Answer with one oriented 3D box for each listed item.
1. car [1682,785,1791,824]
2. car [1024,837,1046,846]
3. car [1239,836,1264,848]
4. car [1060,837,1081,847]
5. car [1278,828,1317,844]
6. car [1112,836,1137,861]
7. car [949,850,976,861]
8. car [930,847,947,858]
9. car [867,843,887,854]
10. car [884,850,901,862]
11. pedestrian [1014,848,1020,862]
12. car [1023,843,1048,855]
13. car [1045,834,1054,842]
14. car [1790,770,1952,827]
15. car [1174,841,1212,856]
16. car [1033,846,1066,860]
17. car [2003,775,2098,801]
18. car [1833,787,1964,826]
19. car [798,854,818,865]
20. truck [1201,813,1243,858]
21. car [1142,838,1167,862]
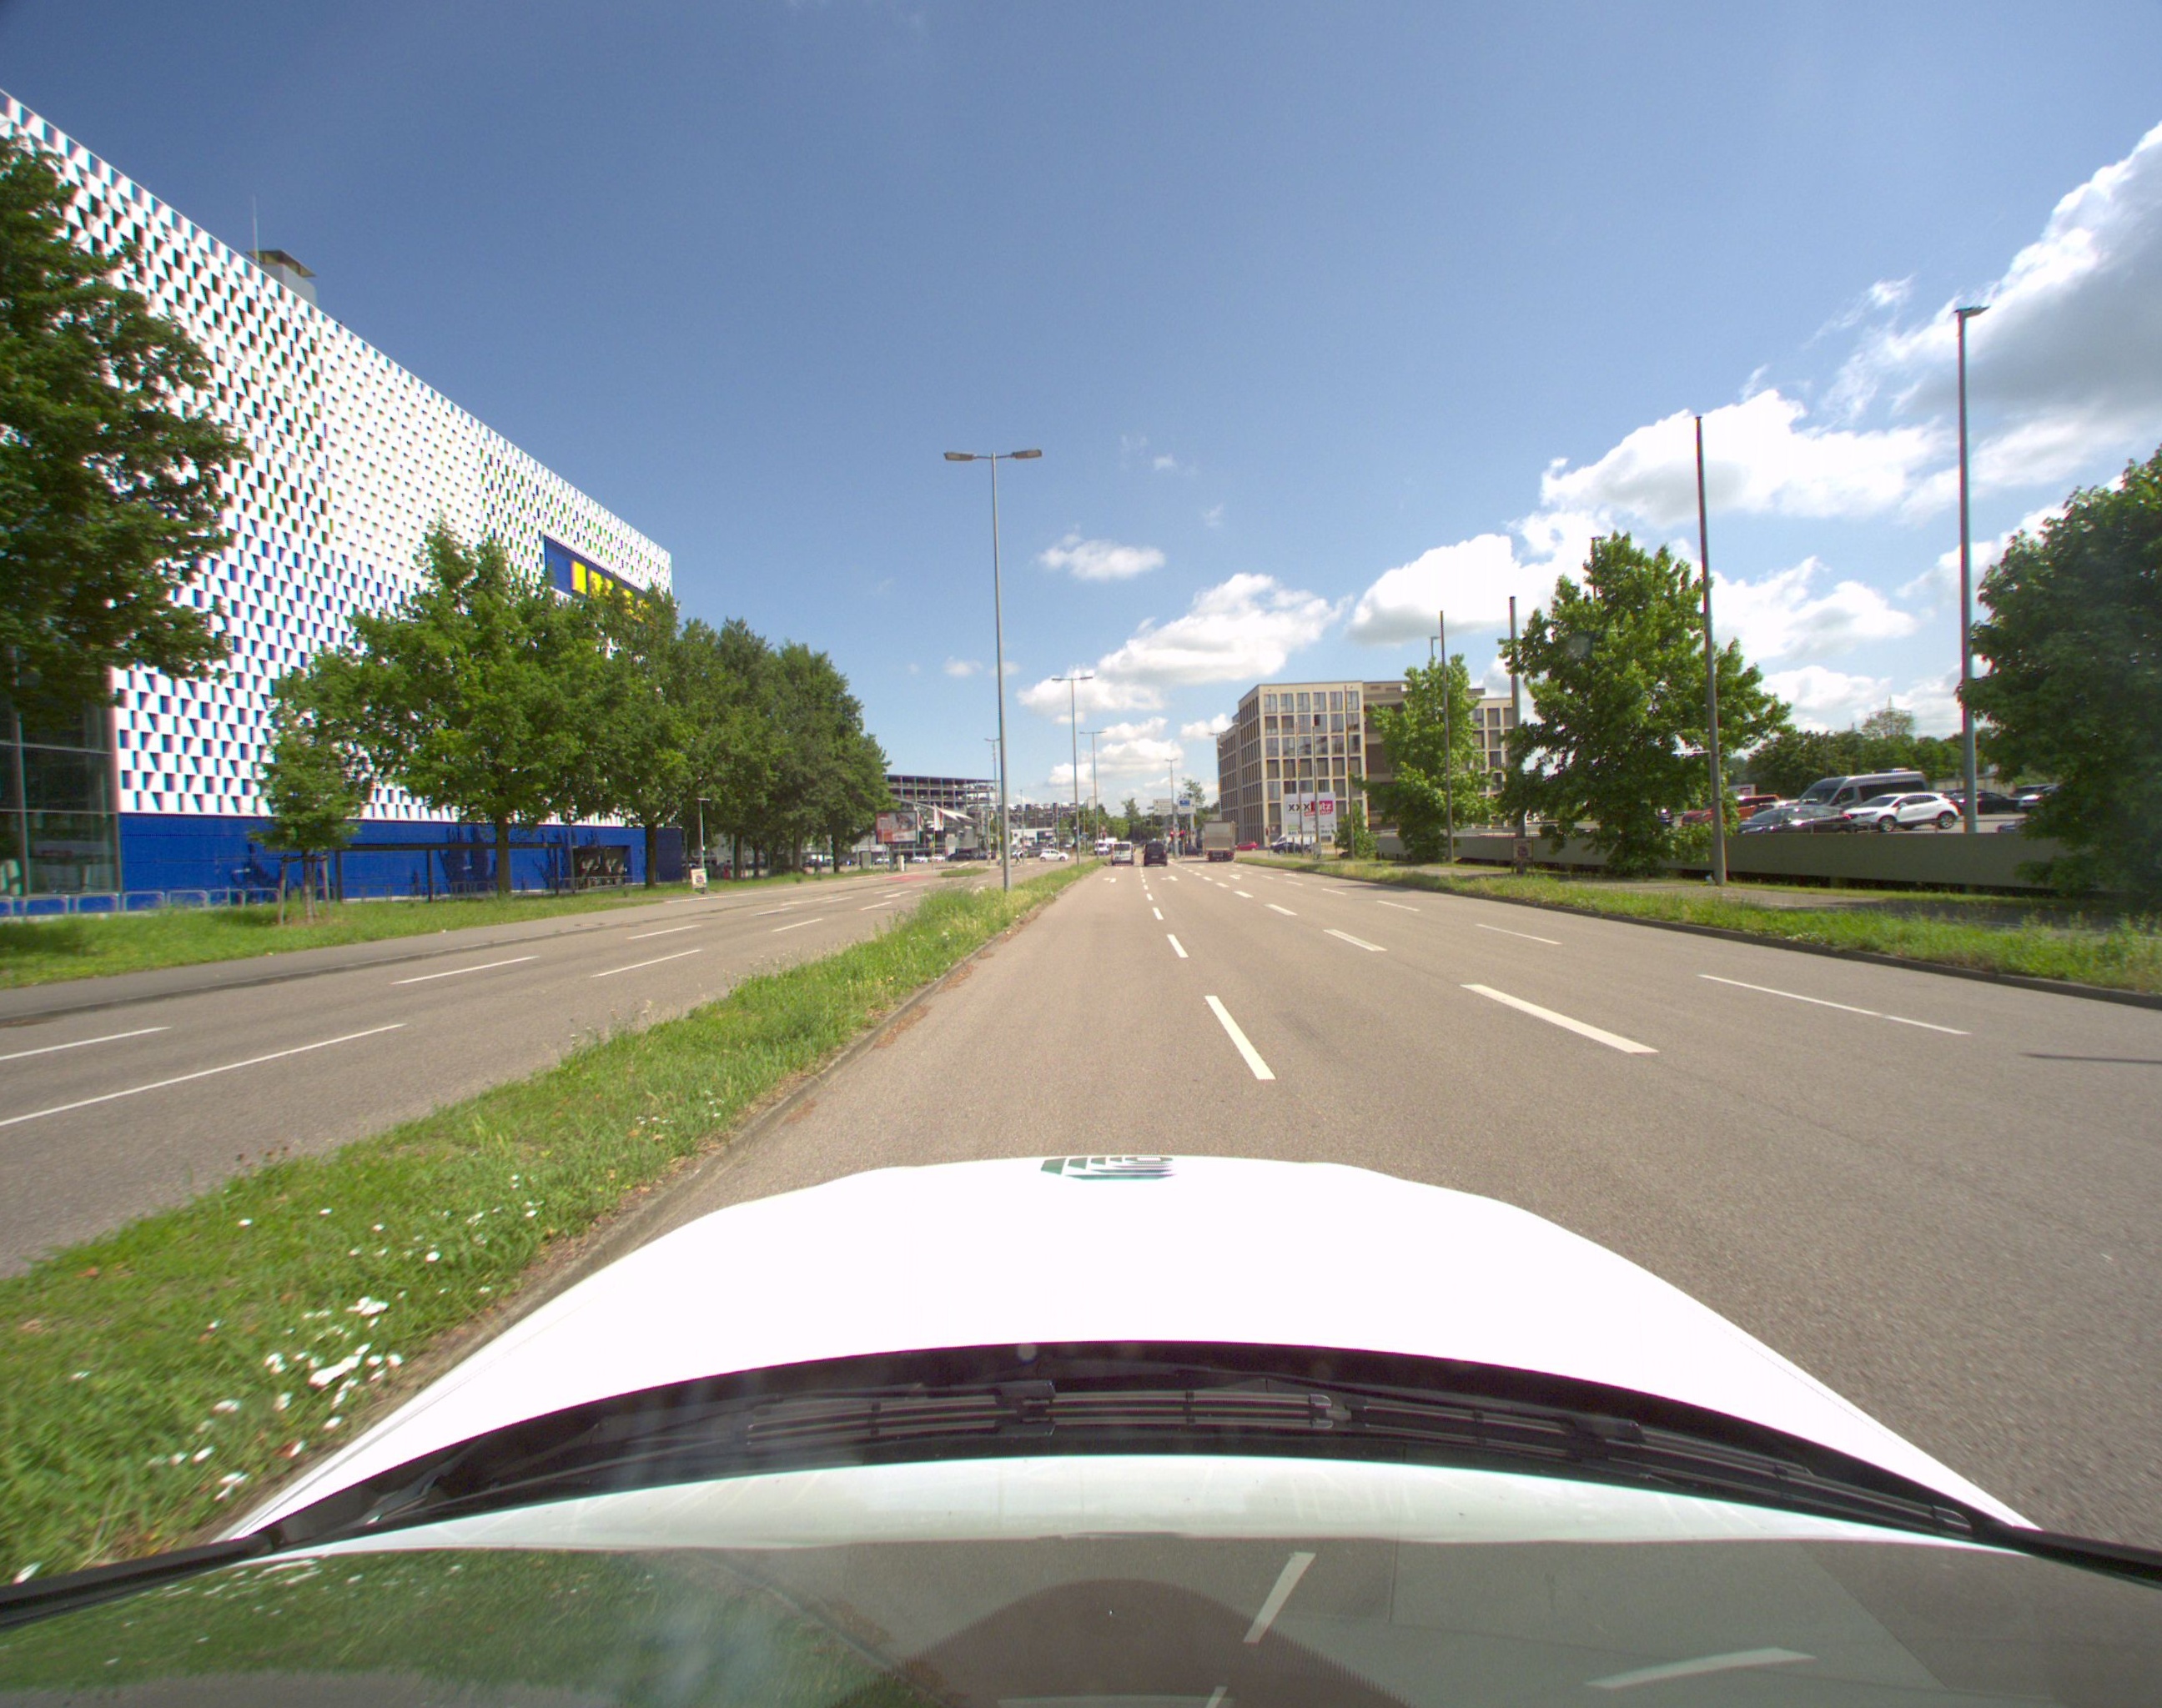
[{"bbox_3d":[40.760,-3.055,50.716,5.142,2.195,1.987,-1,0,1],"label":"car"},{"bbox_3d":[-8.998,-2.373,159.260,4.155,1.712,1.688,-1,1,-3],"label":"car"},{"bbox_3d":[23.478,-1.666,112.335,3.261,1.405,1.335,-2,10,1],"label":"car"},{"bbox_3d":[-2.118,-2.366,159.602,3.978,1.925,1.825,-2,1,-3],"label":"car"},{"bbox_3d":[31.977,-2.645,120.260,5.459,2.254,2.007,-2,1,12],"label":"car"},{"bbox_3d":[3.713,-0.502,69.239,1.846,2.018,4.007,-1,2,6],"label":"car"},{"bbox_3d":[-17.914,0.209,122.802,3.782,1.513,1.678,-2,1,-2],"label":"car"},{"bbox_3d":[-21.550,-0.240,123.425,1.770,1.450,4.030,-2,2,0],"label":"car"},{"bbox_3d":[-30.740,-0.796,122.778,1.873,1.486,3.701,-2,2,0],"label":"car"},{"bbox_3d":[-28.370,0.258,122.769,1.751,1.660,3.616,-2,2,0],"label":"car"},{"bbox_3d":[-7.053,0.147,89.567,0.464,1.512,0.515,-1,0,29],"label":"pedestrian"},{"bbox_3d":[-7.168,-0.852,128.388,3.849,1.639,1.858,-4,1,0],"label":"car"},{"bbox_3d":[-6.946,-3.523,180.497,1.840,1.530,3.999,-2,2,-1],"label":"car"},{"bbox_3d":[37.129,-2.601,38.365,5.641,2.366,2.061,-2,0,-1],"label":"car"},{"bbox_3d":[13.099,-0.660,94.882,4.114,1.503,1.633,-3,1,14],"label":"car"},{"bbox_3d":[-3.796,-0.158,97.950,3.841,1.466,1.694,-2,1,-2],"label":"car"},{"bbox_3d":[66.197,-4.504,55.681,3.969,1.552,2.002,-2,1,3],"label":"car"},{"bbox_3d":[35.824,-2.070,35.759,3.974,1.514,1.747,-2,0,-1],"label":"car"},{"bbox_3d":[-40.650,0.827,121.381,1.831,1.487,3.700,-2,2,-1],"label":"car"},{"bbox_3d":[13.619,-1.839,78.195,3.106,3.940,8.895,-2,2,15],"label":"truck"},{"bbox_3d":[5.846,-0.372,64.188,1.810,1.808,4.008,-1,1,7],"label":"car"}]
